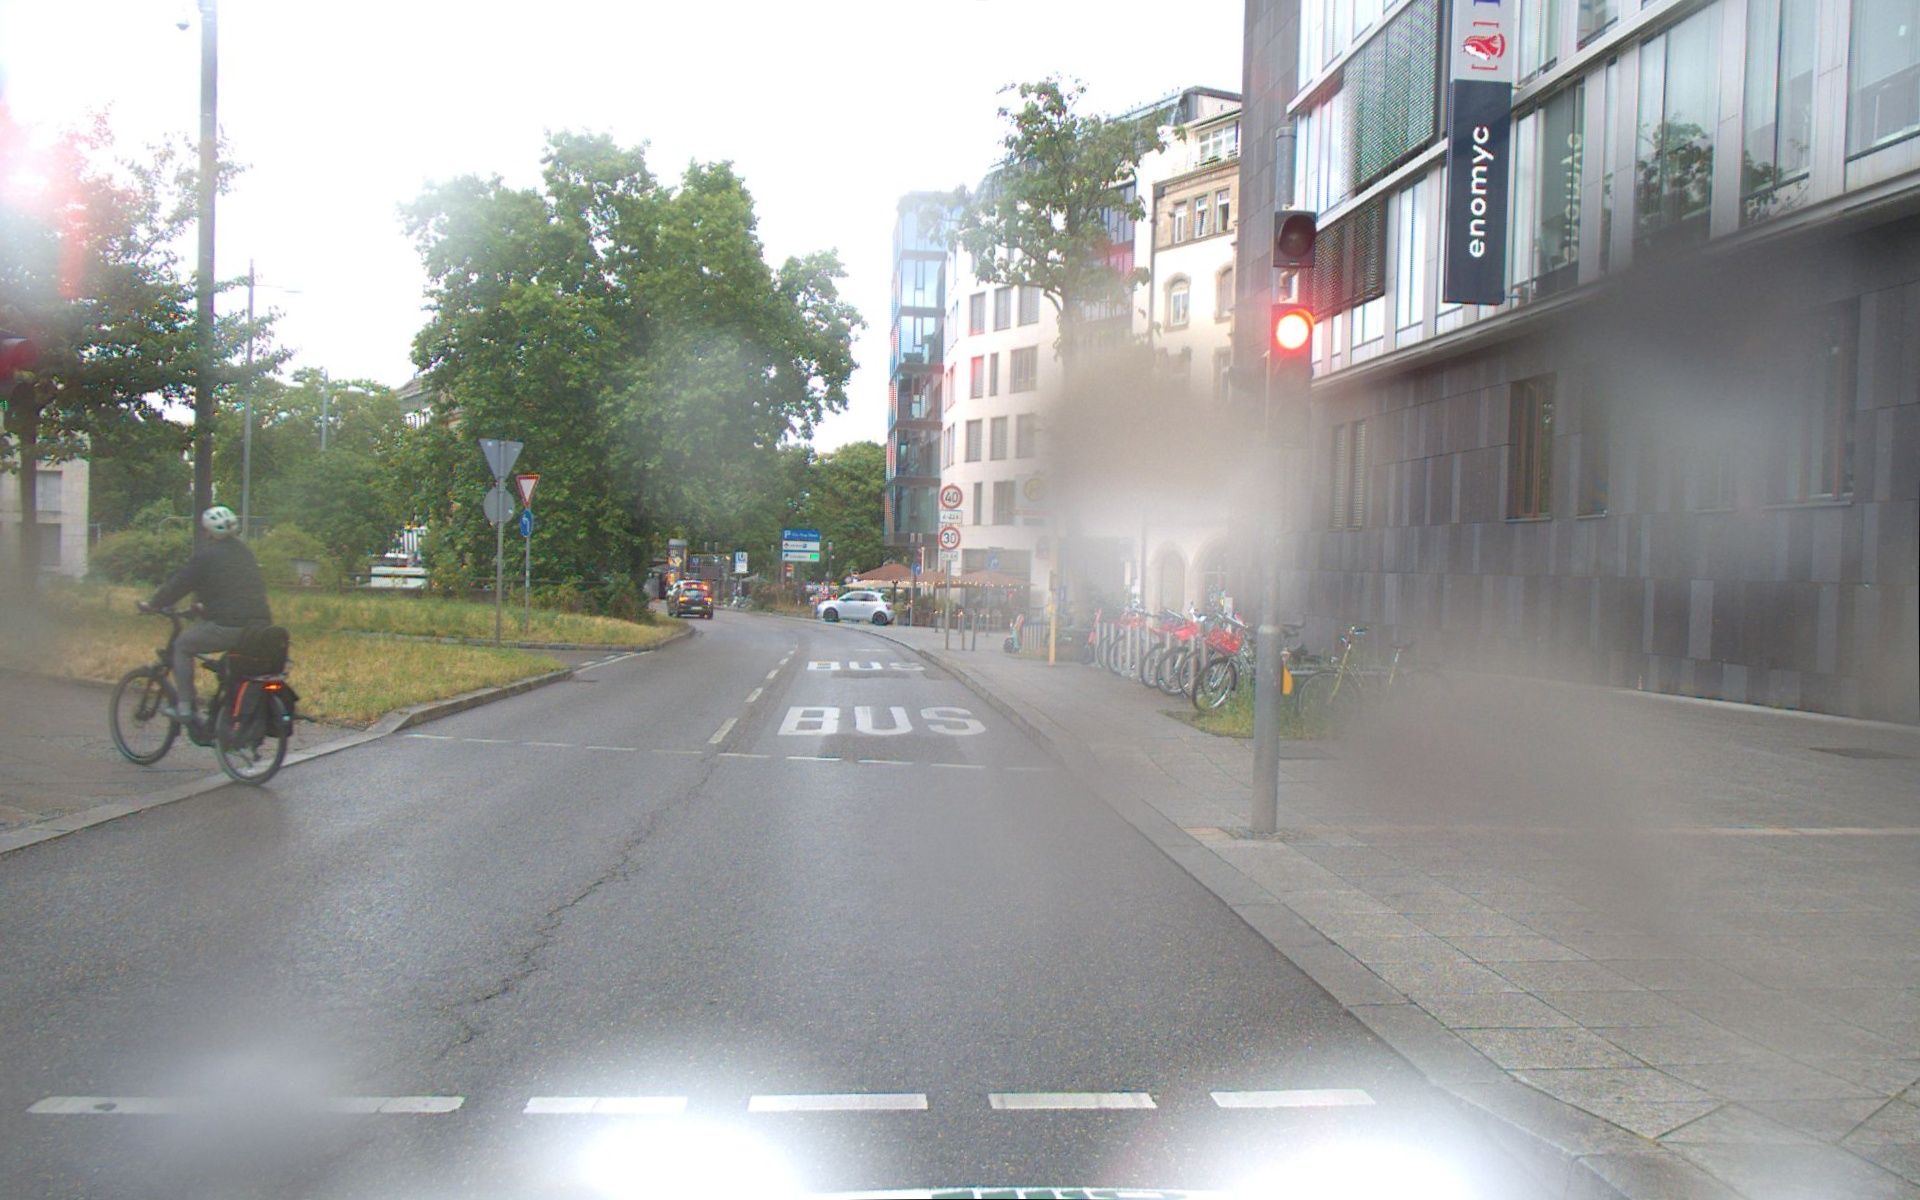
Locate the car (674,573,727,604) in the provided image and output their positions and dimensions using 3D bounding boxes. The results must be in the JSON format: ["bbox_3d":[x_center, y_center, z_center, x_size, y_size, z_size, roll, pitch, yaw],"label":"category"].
[{"bbox_3d":[-15.178,-0.680,96.672,2.150,1.730,3.972,2,0,-23],"label":"car"}]

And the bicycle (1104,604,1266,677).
[{"bbox_3d":[3.589,0.641,26.462,2.486,1.106,0.677,1,0,-6],"label":"bicycle"}]

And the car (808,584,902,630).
[{"bbox_3d":[-4.839,0.318,76.539,3.904,1.675,2.001,6,0,6],"label":"car"}]

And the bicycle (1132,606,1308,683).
[{"bbox_3d":[3.863,0.656,24.649,2.486,1.106,0.677,1,0,-6],"label":"bicycle"}]

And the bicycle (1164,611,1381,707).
[{"bbox_3d":[3.766,0.703,20.010,2.486,1.106,0.677,1,0,-6],"label":"bicycle"}]

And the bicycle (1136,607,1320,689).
[{"bbox_3d":[3.791,0.674,23.451,2.486,1.106,0.677,1,0,-6],"label":"bicycle"}]

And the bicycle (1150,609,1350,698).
[{"bbox_3d":[3.783,0.693,21.675,2.486,1.106,0.677,1,0,-6],"label":"bicycle"}]

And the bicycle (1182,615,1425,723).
[{"bbox_3d":[3.716,0.746,17.980,2.487,1.106,0.677,1,0,-6],"label":"bicycle"}]

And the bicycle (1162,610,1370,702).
[{"bbox_3d":[3.851,0.702,20.866,2.486,1.106,0.677,1,0,-6],"label":"bicycle"}]

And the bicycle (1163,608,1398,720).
[{"bbox_3d":[3.629,0.722,18.782,2.487,1.106,0.677,3,0,-6],"label":"bicycle"}]

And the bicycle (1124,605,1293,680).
[{"bbox_3d":[3.837,0.650,25.626,2.486,1.106,0.677,1,0,-6],"label":"bicycle"}]

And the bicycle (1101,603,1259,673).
[{"bbox_3d":[3.613,0.623,27.215,2.486,1.106,0.677,1,0,-6],"label":"bicycle"}]

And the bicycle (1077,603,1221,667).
[{"bbox_3d":[3.374,0.620,29.569,2.486,1.106,0.627,1,0,-6],"label":"bicycle"}]

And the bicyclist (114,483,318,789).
[{"bbox_3d":[-5.523,0.246,12.292,1.060,2.118,0.763,4,1,23],"label":"bicyclist"}]

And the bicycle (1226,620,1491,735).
[{"bbox_3d":[3.961,0.766,16.506,2.487,1.075,0.677,1,0,-6],"label":"bicycle"}]

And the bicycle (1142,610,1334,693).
[{"bbox_3d":[3.775,0.692,22.542,2.486,1.078,0.677,1,0,-6],"label":"bicycle"}]

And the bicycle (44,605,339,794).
[{"bbox_3d":[-5.765,0.702,12.396,2.084,1.165,0.763,5,1,24],"label":"bicycle"}]

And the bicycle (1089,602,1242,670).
[{"bbox_3d":[3.478,0.606,28.101,2.486,1.106,0.677,1,0,-6],"label":"bicycle"}]

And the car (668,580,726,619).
[{"bbox_3d":[-12.605,-0.057,78.994,2.127,1.735,4.533,2,0,-17],"label":"car"}]

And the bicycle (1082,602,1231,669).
[{"bbox_3d":[3.420,0.614,28.848,2.486,1.106,0.677,1,0,-6],"label":"bicycle"}]
